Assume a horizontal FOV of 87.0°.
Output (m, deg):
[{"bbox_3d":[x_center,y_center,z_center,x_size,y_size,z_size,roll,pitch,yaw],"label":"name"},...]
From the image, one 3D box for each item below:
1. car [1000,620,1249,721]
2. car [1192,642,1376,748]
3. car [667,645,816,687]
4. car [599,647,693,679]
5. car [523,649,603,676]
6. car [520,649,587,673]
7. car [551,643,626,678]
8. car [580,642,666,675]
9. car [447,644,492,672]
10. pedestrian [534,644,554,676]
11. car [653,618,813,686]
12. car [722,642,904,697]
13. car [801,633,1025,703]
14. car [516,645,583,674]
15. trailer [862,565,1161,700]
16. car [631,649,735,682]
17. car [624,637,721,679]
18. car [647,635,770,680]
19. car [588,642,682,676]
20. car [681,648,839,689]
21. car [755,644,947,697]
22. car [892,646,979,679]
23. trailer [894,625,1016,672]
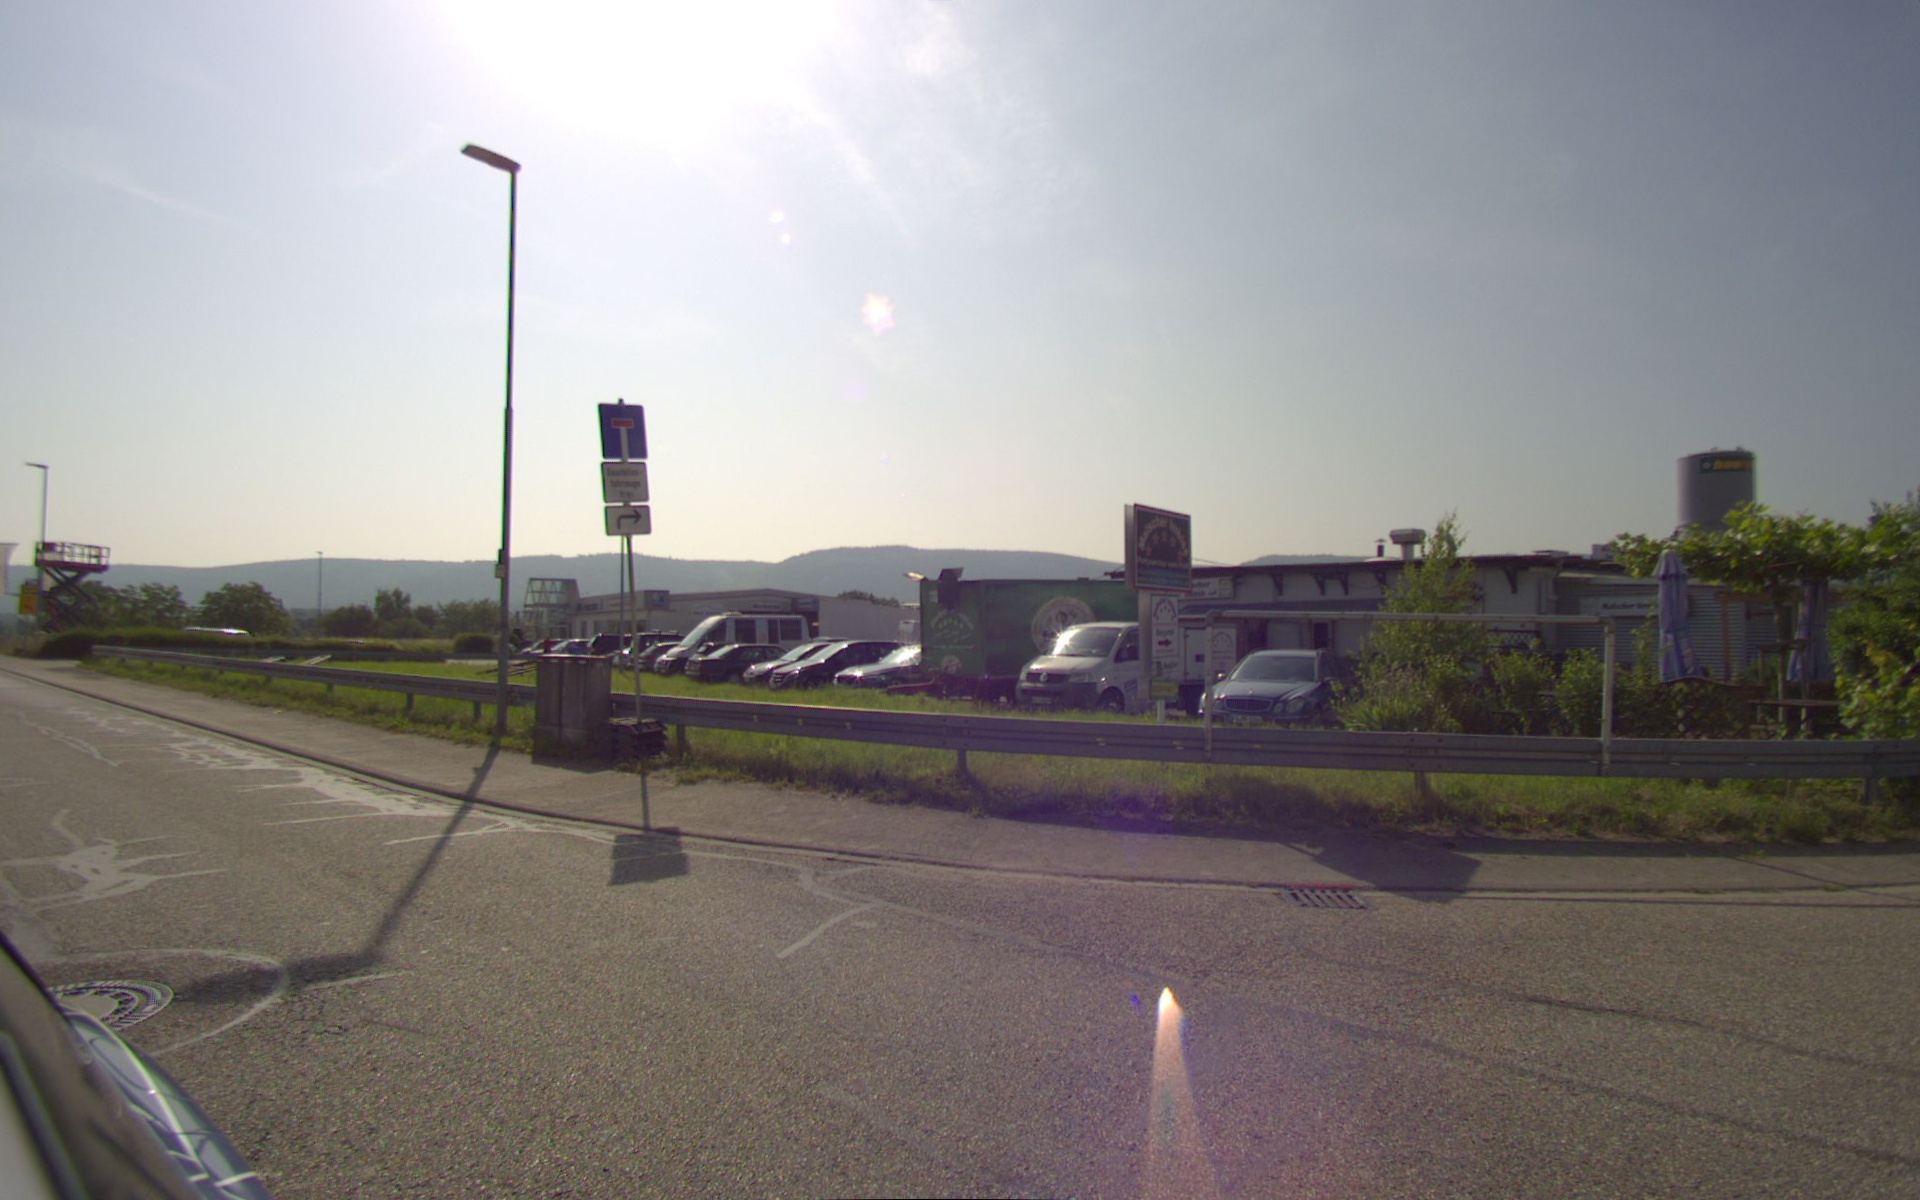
[{"bbox_3d":[3.340,1.371,19.769,5.198,1.719,2.002,4,-5,-42],"label":"car"},{"bbox_3d":[5.658,1.514,17.242,1.956,1.521,4.787,-1,-3,31],"label":"car"},{"bbox_3d":[-7.573,2.324,35.198,4.684,1.365,1.927,3,-5,-30],"label":"car"},{"bbox_3d":[-14.252,2.864,45.988,3.695,1.399,1.733,3,-4,-35],"label":"car"},{"bbox_3d":[-23.815,3.762,60.706,4.089,1.547,1.887,3,-4,-37],"label":"car"},{"bbox_3d":[-25.503,3.828,63.532,3.605,1.475,1.768,3,-4,-34],"label":"car"},{"bbox_3d":[-21.608,3.474,58.899,3.711,1.809,1.937,0,-1,-36],"label":"car"},{"bbox_3d":[-16.709,2.922,50.249,3.627,1.533,1.688,4,-4,-37],"label":"car"},{"bbox_3d":[-36.610,4.337,75.508,1.969,2.029,4.163,4,-4,-40],"label":"car"},{"bbox_3d":[-23.711,3.400,57.710,0.826,1.767,0.995,0,-1,-37],"label":"pedestrian"},{"bbox_3d":[-8.413,1.997,37.630,5.314,2.391,2.300,3,-5,-30],"label":"car"},{"bbox_3d":[-4.401,2.117,30.599,5.055,1.546,2.031,3,-5,-30],"label":"car"},{"bbox_3d":[-1.108,1.696,24.791,5.055,1.546,2.184,3,-5,-30],"label":"car"},{"bbox_3d":[-27.773,4.044,68.460,4.026,1.887,1.822,3,-4,-26],"label":"car"},{"bbox_3d":[1.262,0.842,22.655,6.222,2.625,2.861,3,-4,-35],"label":"trailer"},{"bbox_3d":[-11.400,2.698,41.689,3.695,1.318,1.811,3,-4,-35],"label":"car"},{"bbox_3d":[-12.562,2.550,44.260,3.695,1.764,1.753,3,-4,-35],"label":"car"},{"bbox_3d":[-9.839,2.303,39.702,4.328,1.676,1.812,3,-5,-30],"label":"car"},{"bbox_3d":[-15.457,2.833,48.211,3.935,1.533,1.688,4,-4,-37],"label":"car"},{"bbox_3d":[-6.385,2.228,32.496,4.616,1.228,1.836,3,-5,-30],"label":"car"},{"bbox_3d":[-2.911,1.938,27.541,4.882,1.328,1.784,3,-5,-30],"label":"car"},{"bbox_3d":[-1.114,2.889,46.639,3.605,1.475,1.768,3,-4,-34],"label":"car"},{"bbox_3d":[-0.231,2.462,50.623,5.667,2.141,2.224,3,-4,-28],"label":"trailer"}]
